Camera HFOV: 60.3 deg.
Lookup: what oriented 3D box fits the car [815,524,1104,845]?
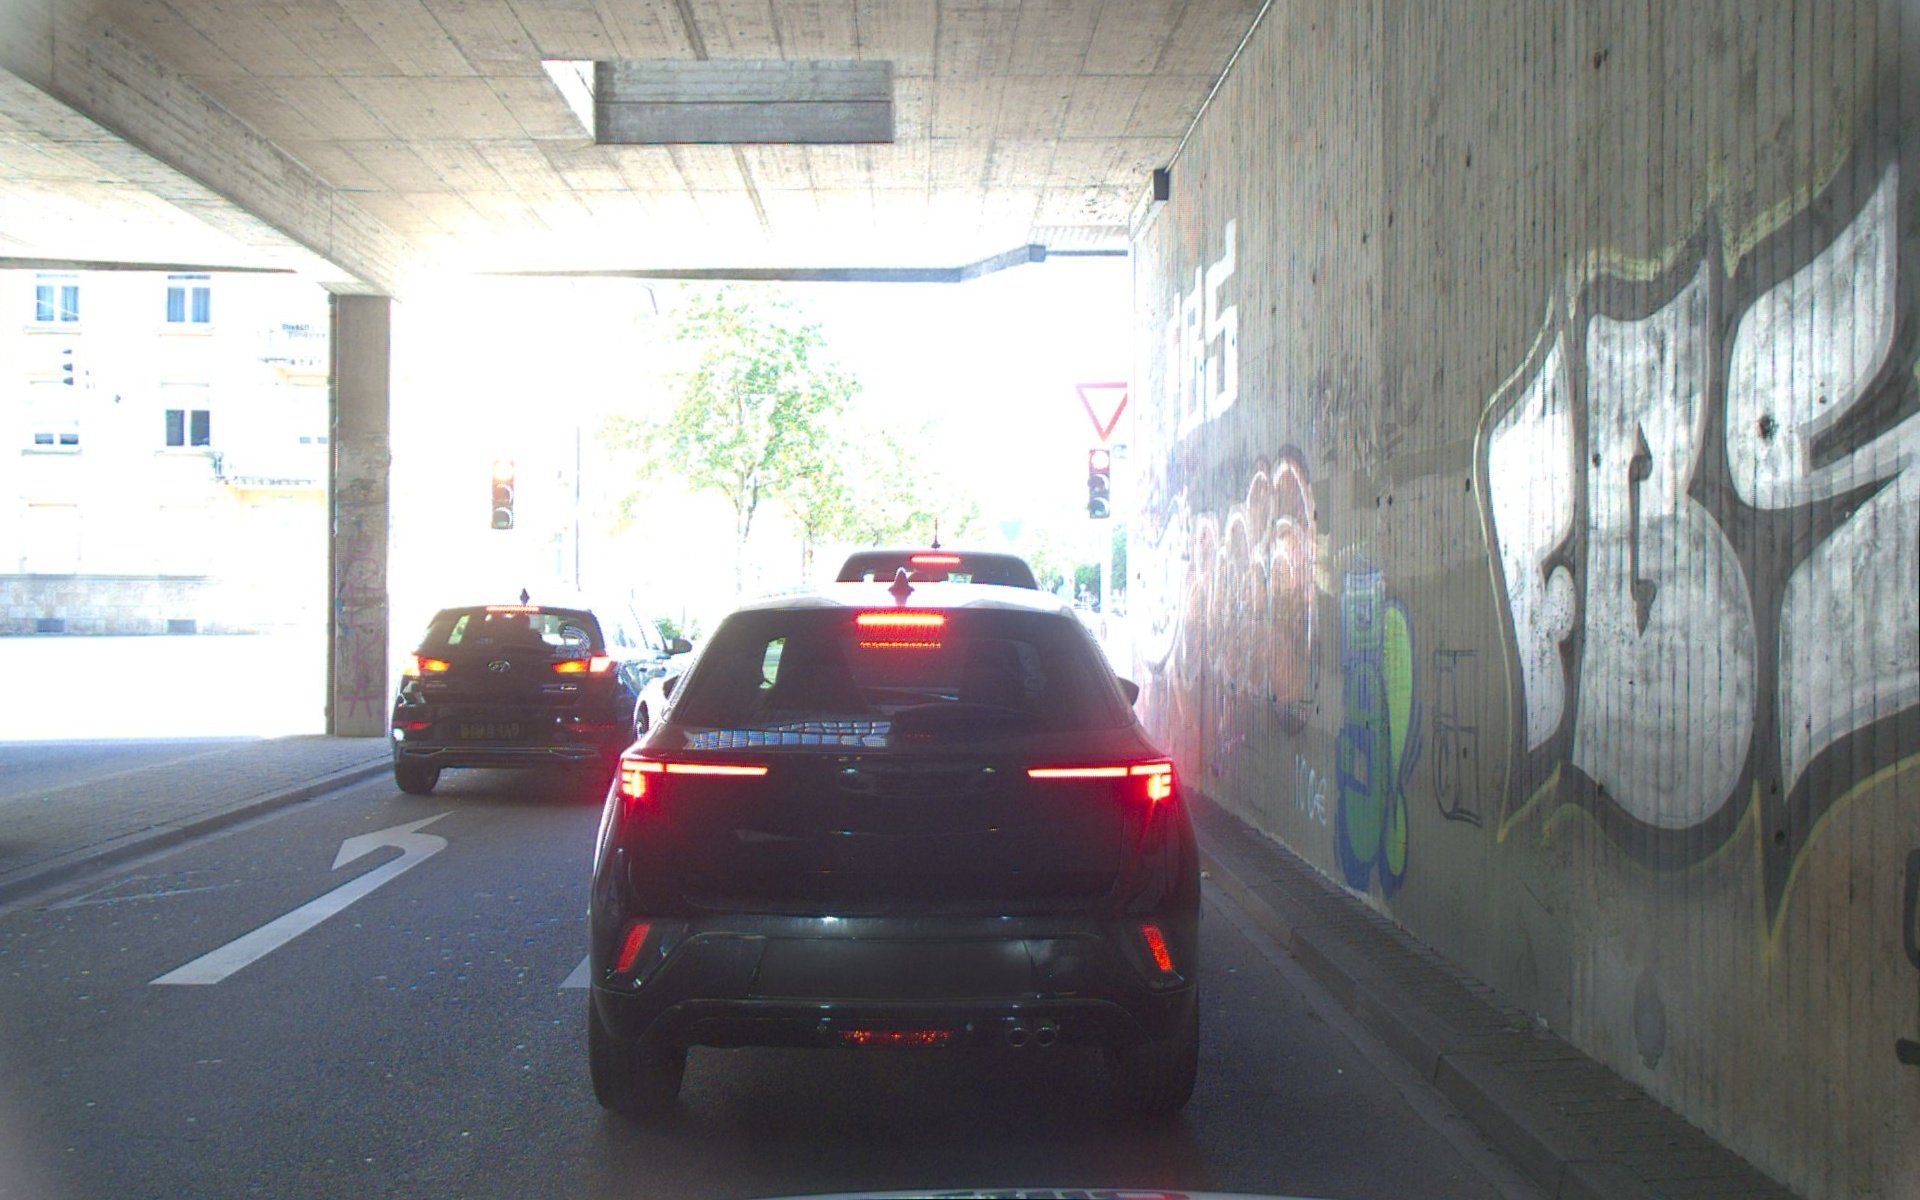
[{"bbox_3d":[-0.033,0.504,12.009,1.726,1.915,4.145,0,0,-1],"label":"car"}]

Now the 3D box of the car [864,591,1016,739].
[{"bbox_3d":[-0.239,0.671,19.223,1.576,1.539,4.053,0,0,-1],"label":"car"}]

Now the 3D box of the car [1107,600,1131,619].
[{"bbox_3d":[14.693,0.903,152.722,1.778,1.696,4.819,1,0,11],"label":"car"}]

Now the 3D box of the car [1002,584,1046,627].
[{"bbox_3d":[2.667,0.222,68.330,1.717,1.696,3.946,1,0,3],"label":"car"}]

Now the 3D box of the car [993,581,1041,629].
[{"bbox_3d":[2.177,0.188,62.204,1.717,1.696,3.946,1,0,3],"label":"car"}]

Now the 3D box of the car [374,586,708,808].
[{"bbox_3d":[-3.150,0.657,13.207,1.726,1.506,3.843,0,0,-1],"label":"car"}]

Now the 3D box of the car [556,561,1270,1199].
[{"bbox_3d":[-0.139,0.685,6.064,1.726,1.558,4.088,0,0,-1],"label":"car"}]

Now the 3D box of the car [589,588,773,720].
[{"bbox_3d":[-3.420,0.619,20.928,1.726,1.506,3.843,0,0,-1],"label":"car"}]
